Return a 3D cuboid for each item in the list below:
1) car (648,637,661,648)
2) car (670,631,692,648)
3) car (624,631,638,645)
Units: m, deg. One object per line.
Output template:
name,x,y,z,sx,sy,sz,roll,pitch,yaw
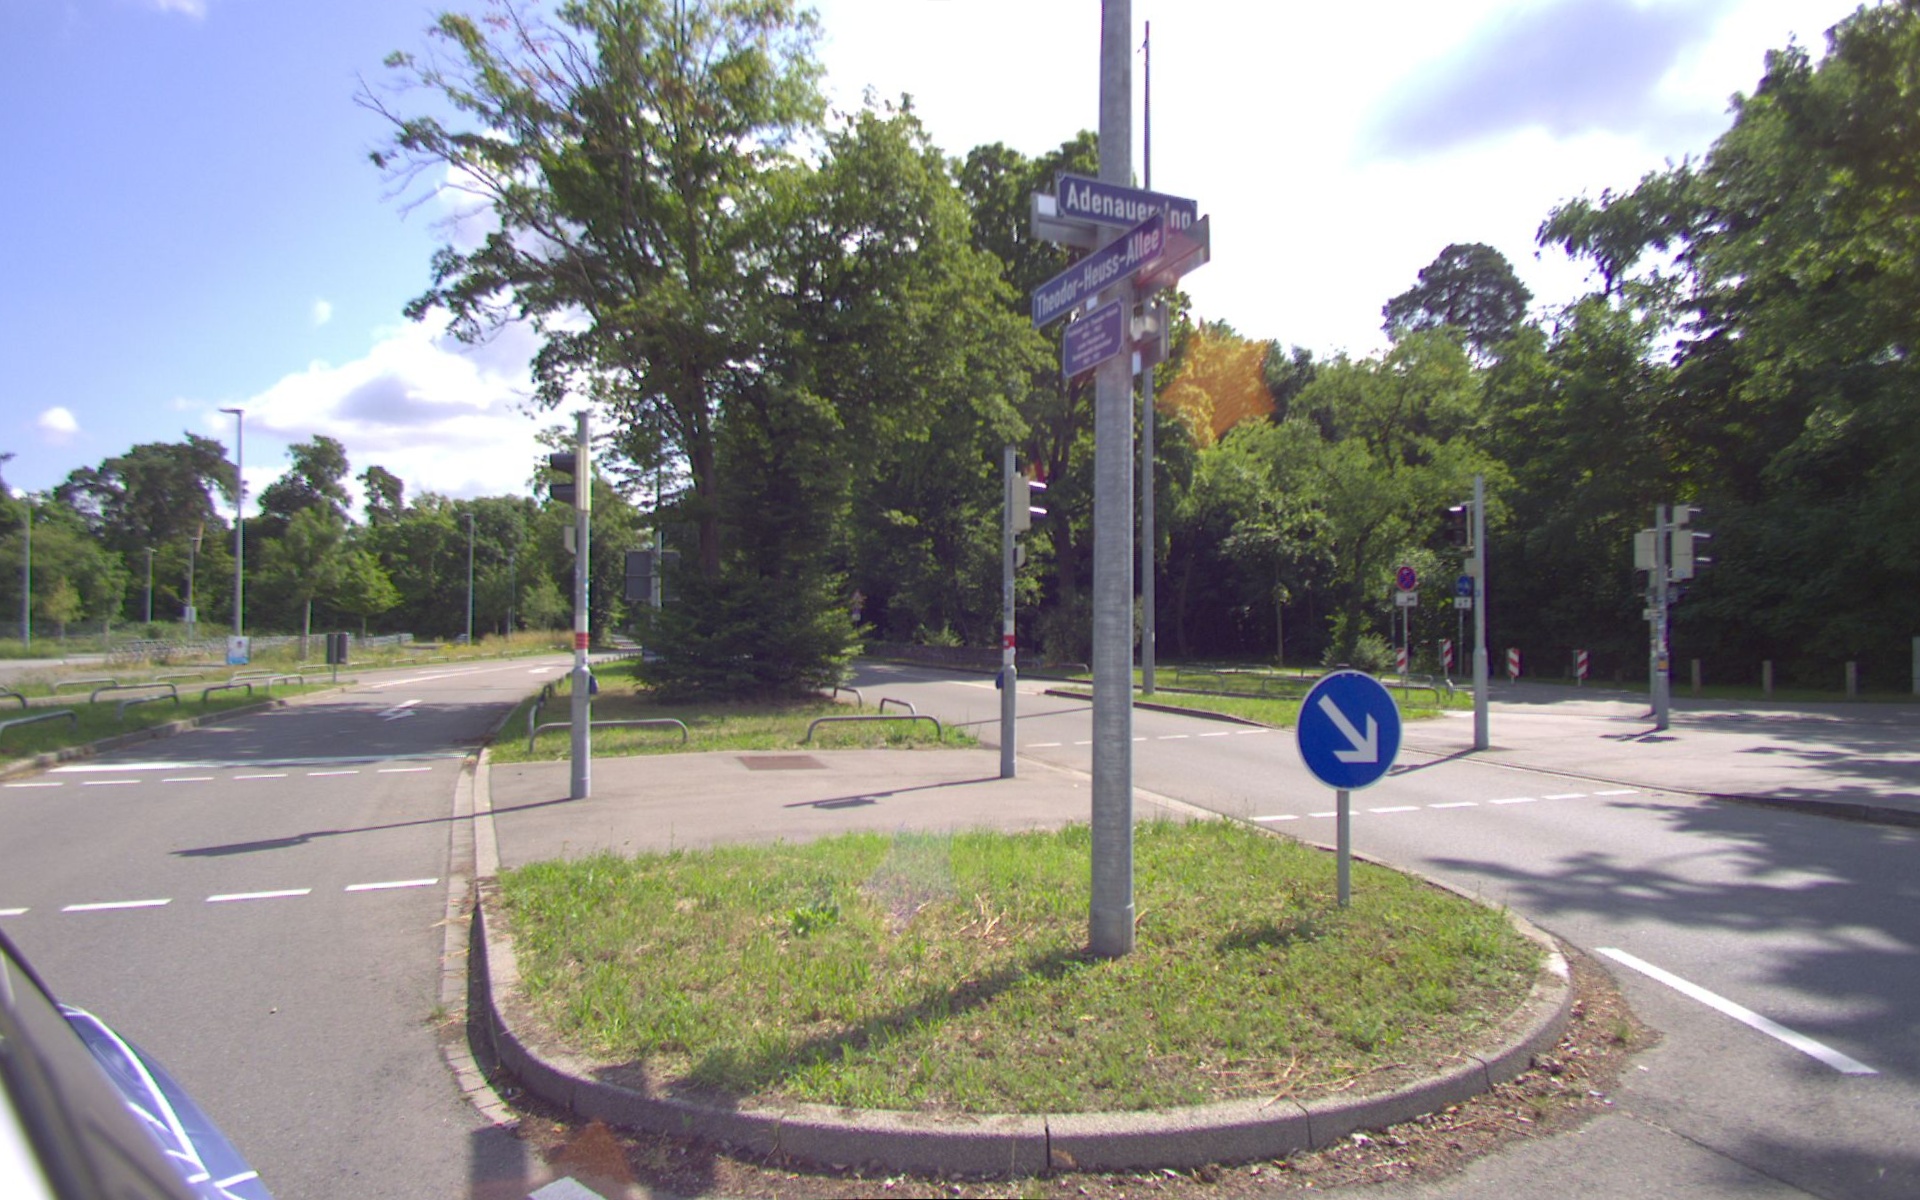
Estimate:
car,-42.174,5.836,139.570,1.671,1.457,4.079,0,-1,-16
car,-28.980,4.126,105.149,1.736,1.642,4.313,-1,-2,-21
car,-61.299,6.990,188.497,1.947,2.449,5.380,0,-1,-22
